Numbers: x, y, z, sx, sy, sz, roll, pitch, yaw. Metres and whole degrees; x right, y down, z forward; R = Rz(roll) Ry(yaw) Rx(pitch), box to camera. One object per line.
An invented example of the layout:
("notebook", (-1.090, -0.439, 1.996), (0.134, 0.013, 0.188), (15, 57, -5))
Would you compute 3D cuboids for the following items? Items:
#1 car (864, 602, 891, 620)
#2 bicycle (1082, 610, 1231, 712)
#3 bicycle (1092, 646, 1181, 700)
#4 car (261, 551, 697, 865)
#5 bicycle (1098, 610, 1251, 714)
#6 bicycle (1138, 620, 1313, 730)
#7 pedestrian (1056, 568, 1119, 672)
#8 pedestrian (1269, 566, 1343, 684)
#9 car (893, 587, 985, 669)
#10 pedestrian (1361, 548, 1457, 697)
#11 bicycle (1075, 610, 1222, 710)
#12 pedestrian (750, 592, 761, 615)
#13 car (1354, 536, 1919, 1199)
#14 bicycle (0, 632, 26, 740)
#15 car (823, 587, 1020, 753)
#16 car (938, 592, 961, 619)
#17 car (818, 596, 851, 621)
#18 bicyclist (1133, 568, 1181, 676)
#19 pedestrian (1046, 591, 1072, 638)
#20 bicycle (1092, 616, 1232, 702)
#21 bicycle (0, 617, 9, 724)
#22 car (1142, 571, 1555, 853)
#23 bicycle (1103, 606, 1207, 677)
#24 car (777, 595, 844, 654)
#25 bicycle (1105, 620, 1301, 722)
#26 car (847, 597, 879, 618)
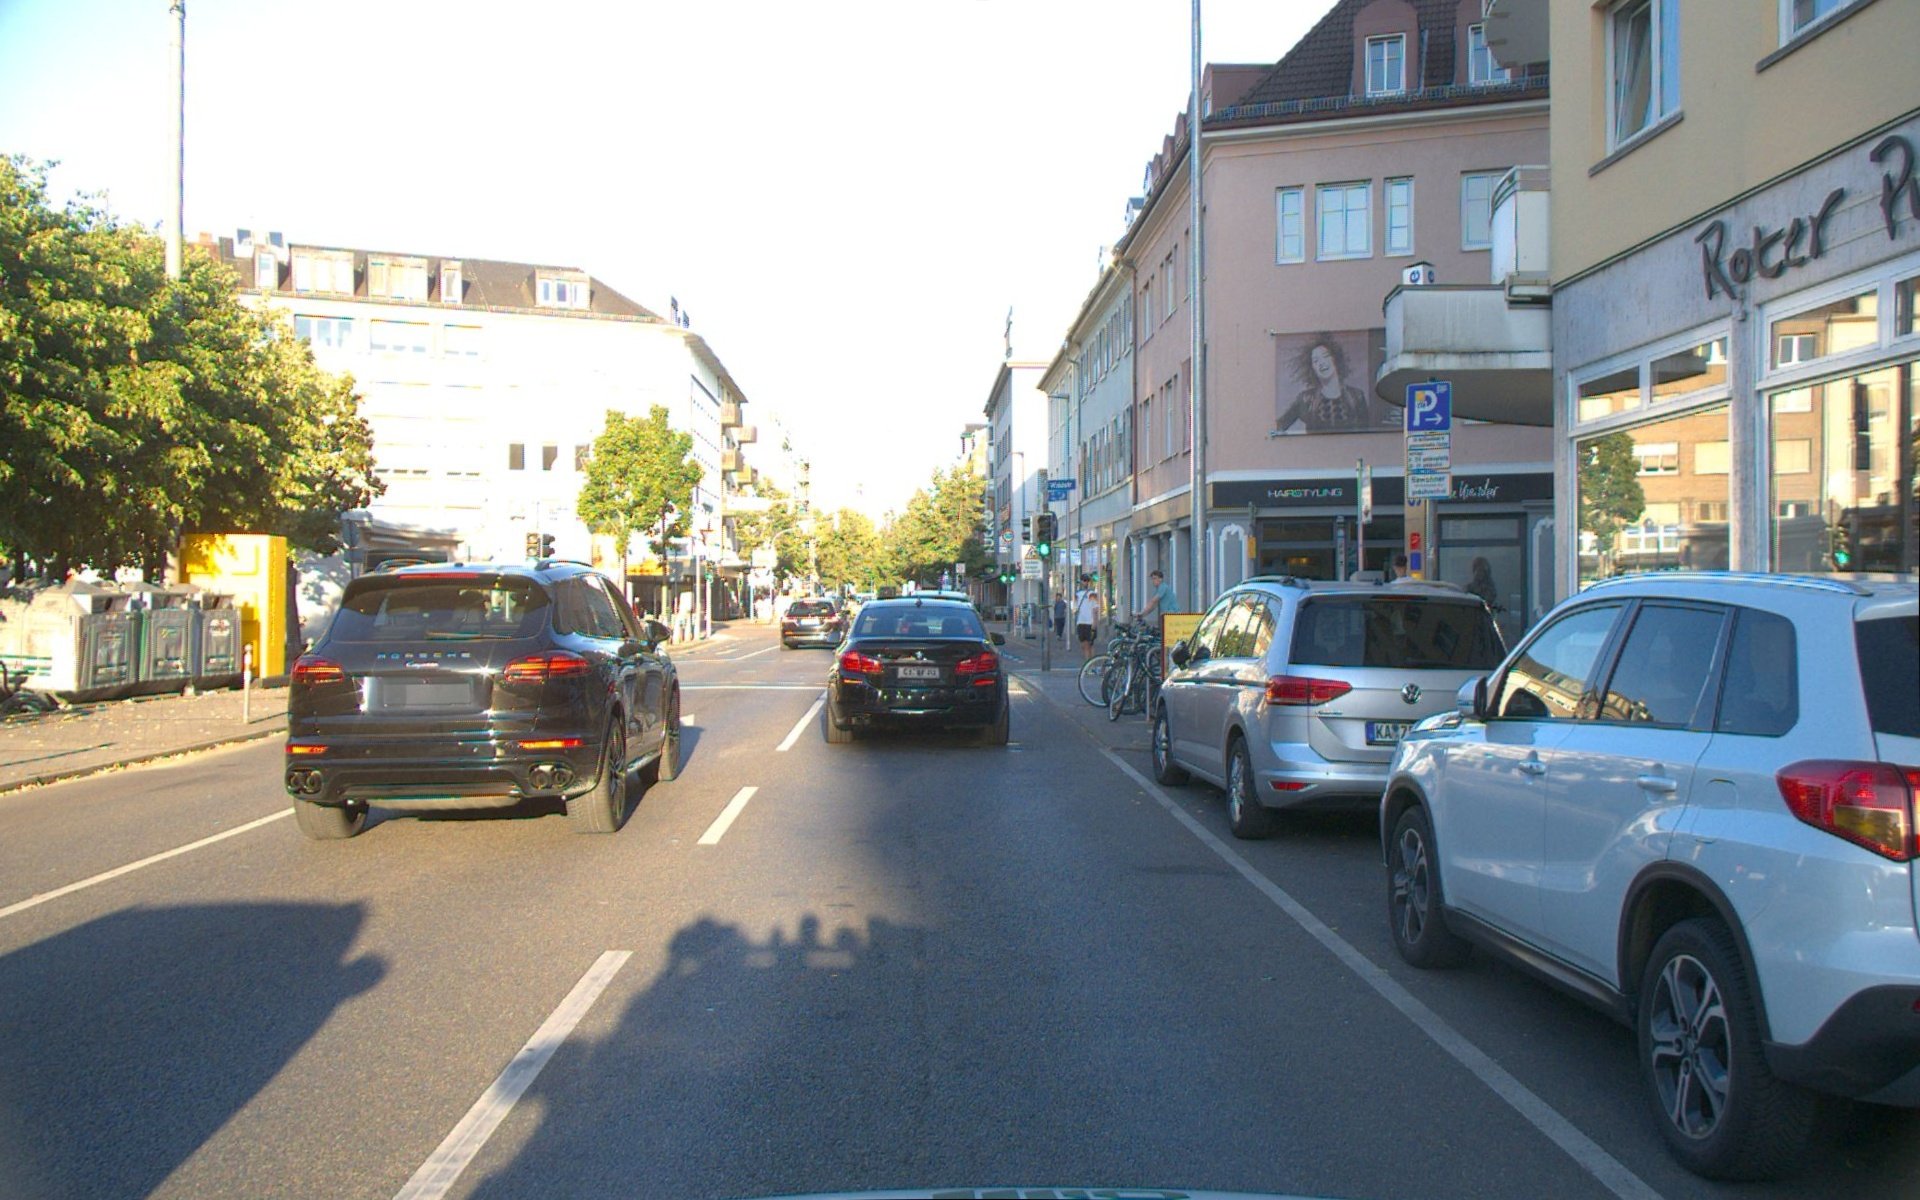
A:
("car", (-6.145, 0.838, 123.064), (1.701, 1.315, 3.993), (0, 0, -7))
("bicycle", (2.484, 0.758, 20.960), (1.751, 1.193, 0.620), (-2, 0, -13))
("bicycle", (2.468, 1.021, 23.232), (0.986, 0.693, 1.048), (0, 0, -11))
("car", (-3.081, 0.596, 11.640), (1.910, 1.744, 4.559), (-1, 0, -3))
("bicycle", (2.633, 0.746, 20.333), (1.751, 1.193, 0.620), (-2, 0, -13))
("bicycle", (2.950, 0.816, 18.391), (1.812, 1.143, 0.593), (-1, -1, -13))
("pedestrian", (2.396, 0.373, 31.172), (0.925, 1.931, 0.820), (0, 0, -23))
("pedestrian", (5.057, 0.362, 24.194), (0.778, 1.682, 0.775), (-1, 0, 41))
("car", (-0.428, 0.544, 34.568), (1.795, 1.603, 4.100), (0, 0, -1))
("pedestrian", (5.718, 0.278, 21.081), (0.818, 1.848, 0.859), (0, 0, -38))
("bicycle", (2.464, 0.775, 21.707), (1.808, 1.261, 0.638), (-1, 0, -7))
("pedestrian", (-15.777, 0.269, 127.740), (0.807, 1.706, 0.871), (0, 0, -3))
("car", (2.789, 0.681, 5.722), (1.780, 1.649, 4.202), (0, 0, -1))
("bicycle", (-11.374, 0.919, 18.032), (1.986, 1.154, 0.548), (1, 0, -6))
("car", (-0.475, 0.652, 17.889), (1.865, 1.567, 4.447), (0, 0, -3))
("car", (-0.790, 0.426, 119.641), (1.393, 1.887, 3.049), (1, -1, -5))
("car", (-8.408, 0.541, 110.604), (1.956, 1.646, 3.993), (0, 0, -8))
("bicyclist", (3.437, 0.378, 28.918), (0.815, 1.858, 0.831), (0, 0, 6))
("pedestrian", (3.534, 0.529, 59.191), (0.807, 1.670, 0.871), (0, 0, -4))
("bicycle", (2.762, 0.795, 22.654), (1.751, 1.082, 0.716), (-2, 0, -13))
("bicycle", (-12.151, 0.820, 19.515), (1.555, 1.274, 0.444), (1, 0, -3))
("car", (2.541, 0.646, 12.042), (1.664, 1.645, 4.679), (0, 0, -3))
("bicycle", (3.410, 0.722, 28.917), (1.781, 1.207, 0.794), (-1, 0, 7))
("car", (-4.316, 0.682, 48.245), (1.835, 1.623, 4.446), (0, 0, -4))
("bicycle", (2.832, 0.814, 19.387), (2.129, 1.094, 0.804), (-1, 0, -9))
("car", (-6.843, 0.537, 116.265), (1.956, 1.467, 3.993), (0, 0, -8))
